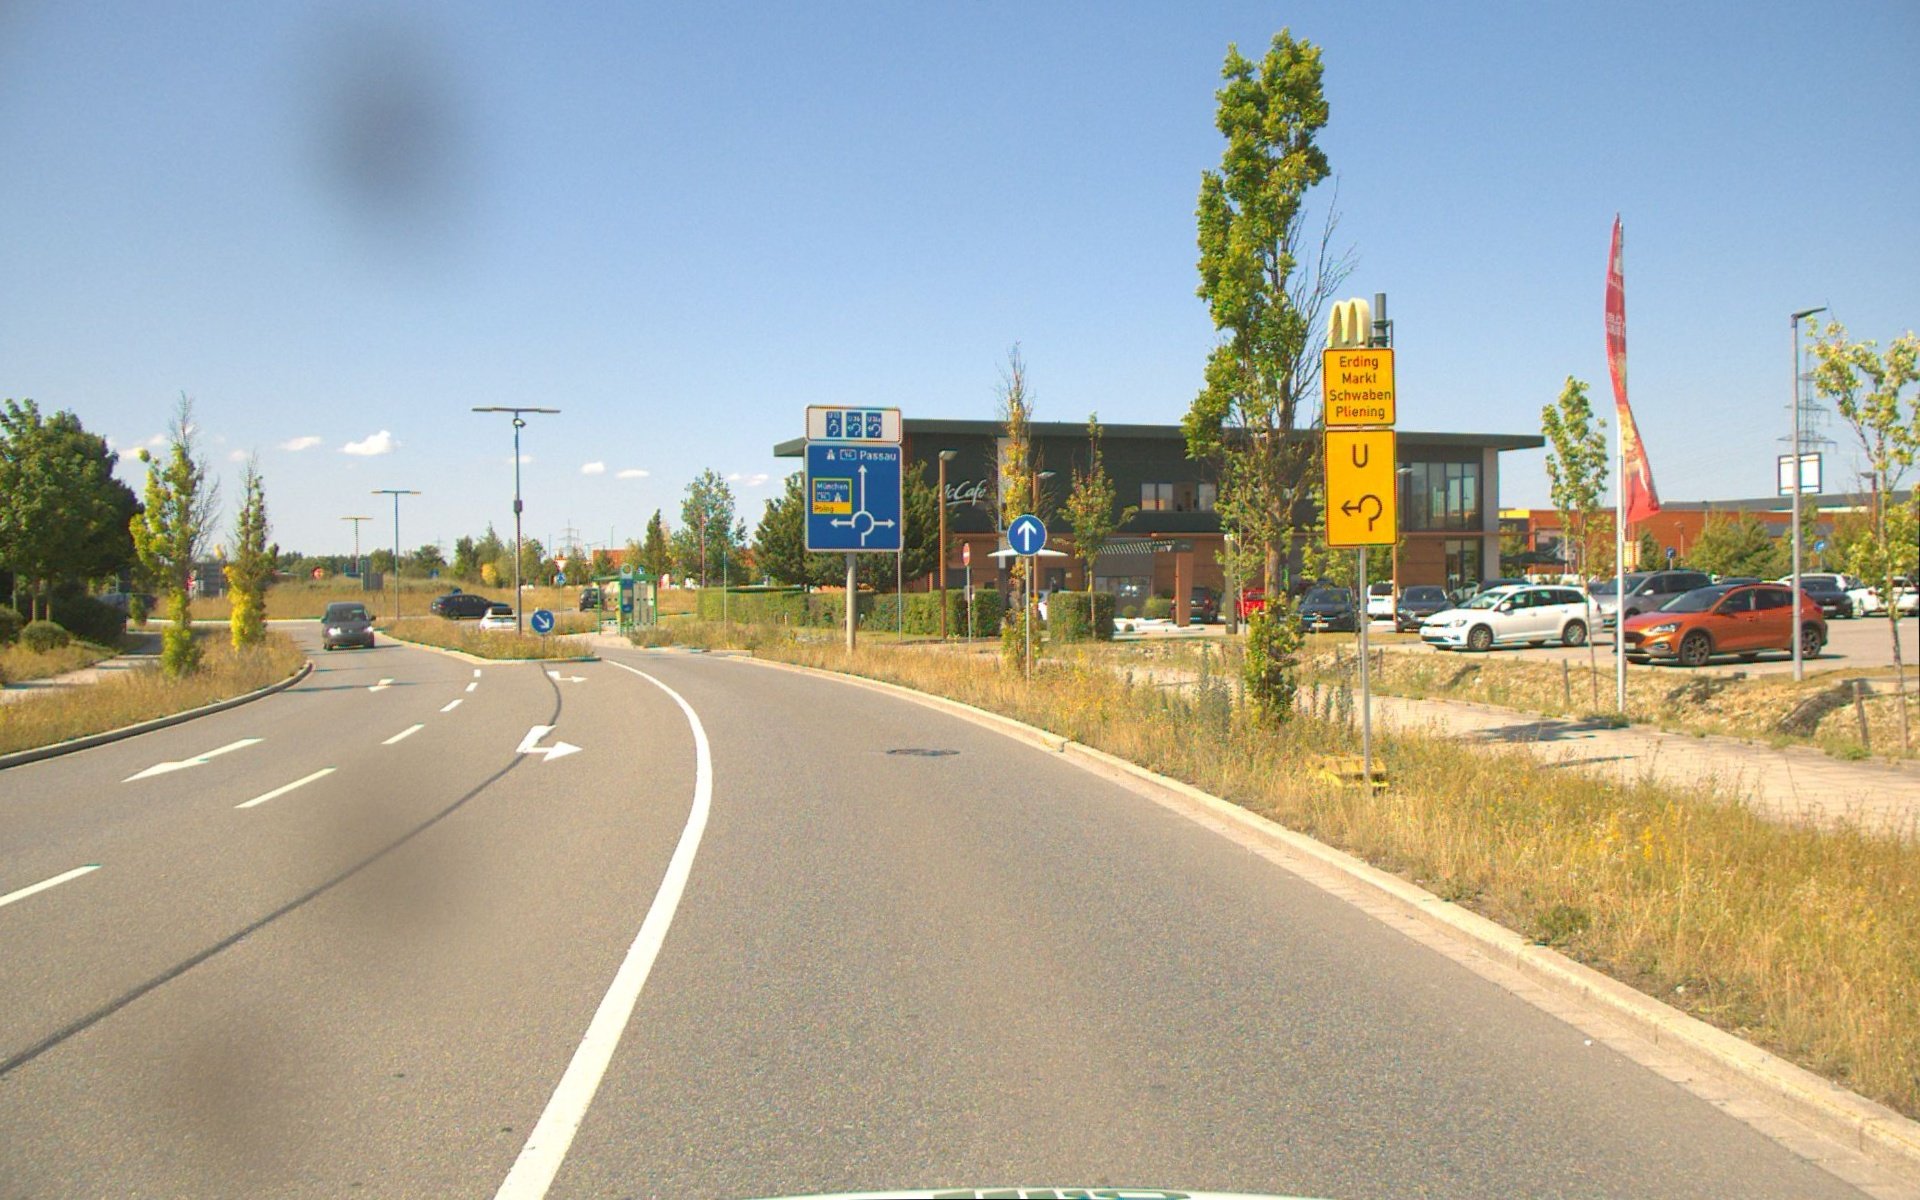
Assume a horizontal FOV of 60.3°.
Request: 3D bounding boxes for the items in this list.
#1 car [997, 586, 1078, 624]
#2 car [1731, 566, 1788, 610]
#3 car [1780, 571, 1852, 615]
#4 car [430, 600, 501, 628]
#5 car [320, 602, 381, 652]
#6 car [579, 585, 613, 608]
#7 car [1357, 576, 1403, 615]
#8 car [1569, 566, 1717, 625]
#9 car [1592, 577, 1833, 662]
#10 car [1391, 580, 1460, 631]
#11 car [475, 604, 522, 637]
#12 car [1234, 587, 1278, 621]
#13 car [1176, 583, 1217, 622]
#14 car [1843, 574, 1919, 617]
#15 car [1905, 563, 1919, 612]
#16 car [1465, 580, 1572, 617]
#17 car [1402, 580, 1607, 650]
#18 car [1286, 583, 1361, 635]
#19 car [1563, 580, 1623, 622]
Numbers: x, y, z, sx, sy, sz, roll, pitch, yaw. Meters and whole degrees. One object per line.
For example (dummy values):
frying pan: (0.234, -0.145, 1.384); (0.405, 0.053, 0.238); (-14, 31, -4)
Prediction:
car: (3.150, 0.205, 67.841); (1.768, 1.459, 3.972); (-1, 0, -23)
car: (33.992, -0.501, 70.404); (1.748, 1.788, 4.170); (-1, 0, 20)
car: (30.393, -0.266, 58.818); (1.748, 1.476, 4.170); (-1, 0, 20)
car: (-28.976, 0.811, 96.857); (3.742, 1.544, 1.757); (-1, 0, -27)
car: (-24.147, 1.026, 65.419); (1.926, 1.826, 4.393); (-2, 1, -24)
car: (-23.884, -0.253, 108.619); (1.585, 1.459, 3.789); (-1, 0, -4)
car: (19.861, -0.228, 78.137); (1.755, 1.731, 4.002); (-1, 0, 18)
car: (20.381, -0.138, 49.350); (4.101, 1.664, 1.778); (-1, 0, -24)
car: (14.860, 0.349, 32.709); (4.136, 1.516, 1.861); (-2, 1, -16)
car: (14.595, 0.148, 51.749); (1.748, 1.487, 4.170); (-1, 0, 20)
car: (-21.304, 0.932, 76.268); (1.595, 1.459, 3.765); (-1, 0, -23)
car: (13.428, 0.149, 75.214); (1.754, 1.459, 4.003); (-1, 0, 8)
car: (10.591, 0.093, 74.193); (1.754, 1.632, 4.003); (-1, 0, 8)
car: (33.416, -0.188, 60.095); (1.748, 1.476, 4.170); (-1, 0, 20)
car: (36.130, -0.480, 60.728); (1.748, 1.788, 4.170); (-1, 0, 20)
car: (22.391, -0.050, 66.245); (3.906, 1.397, 1.798); (-1, 0, 24)
car: (13.154, 0.333, 40.008); (4.452, 1.516, 1.861); (-2, 1, -16)
car: (11.085, 0.239, 50.286); (1.662, 1.487, 4.170); (-1, 0, 20)
car: (20.881, 0.016, 54.650); (1.748, 1.320, 4.170); (-1, 0, 20)
